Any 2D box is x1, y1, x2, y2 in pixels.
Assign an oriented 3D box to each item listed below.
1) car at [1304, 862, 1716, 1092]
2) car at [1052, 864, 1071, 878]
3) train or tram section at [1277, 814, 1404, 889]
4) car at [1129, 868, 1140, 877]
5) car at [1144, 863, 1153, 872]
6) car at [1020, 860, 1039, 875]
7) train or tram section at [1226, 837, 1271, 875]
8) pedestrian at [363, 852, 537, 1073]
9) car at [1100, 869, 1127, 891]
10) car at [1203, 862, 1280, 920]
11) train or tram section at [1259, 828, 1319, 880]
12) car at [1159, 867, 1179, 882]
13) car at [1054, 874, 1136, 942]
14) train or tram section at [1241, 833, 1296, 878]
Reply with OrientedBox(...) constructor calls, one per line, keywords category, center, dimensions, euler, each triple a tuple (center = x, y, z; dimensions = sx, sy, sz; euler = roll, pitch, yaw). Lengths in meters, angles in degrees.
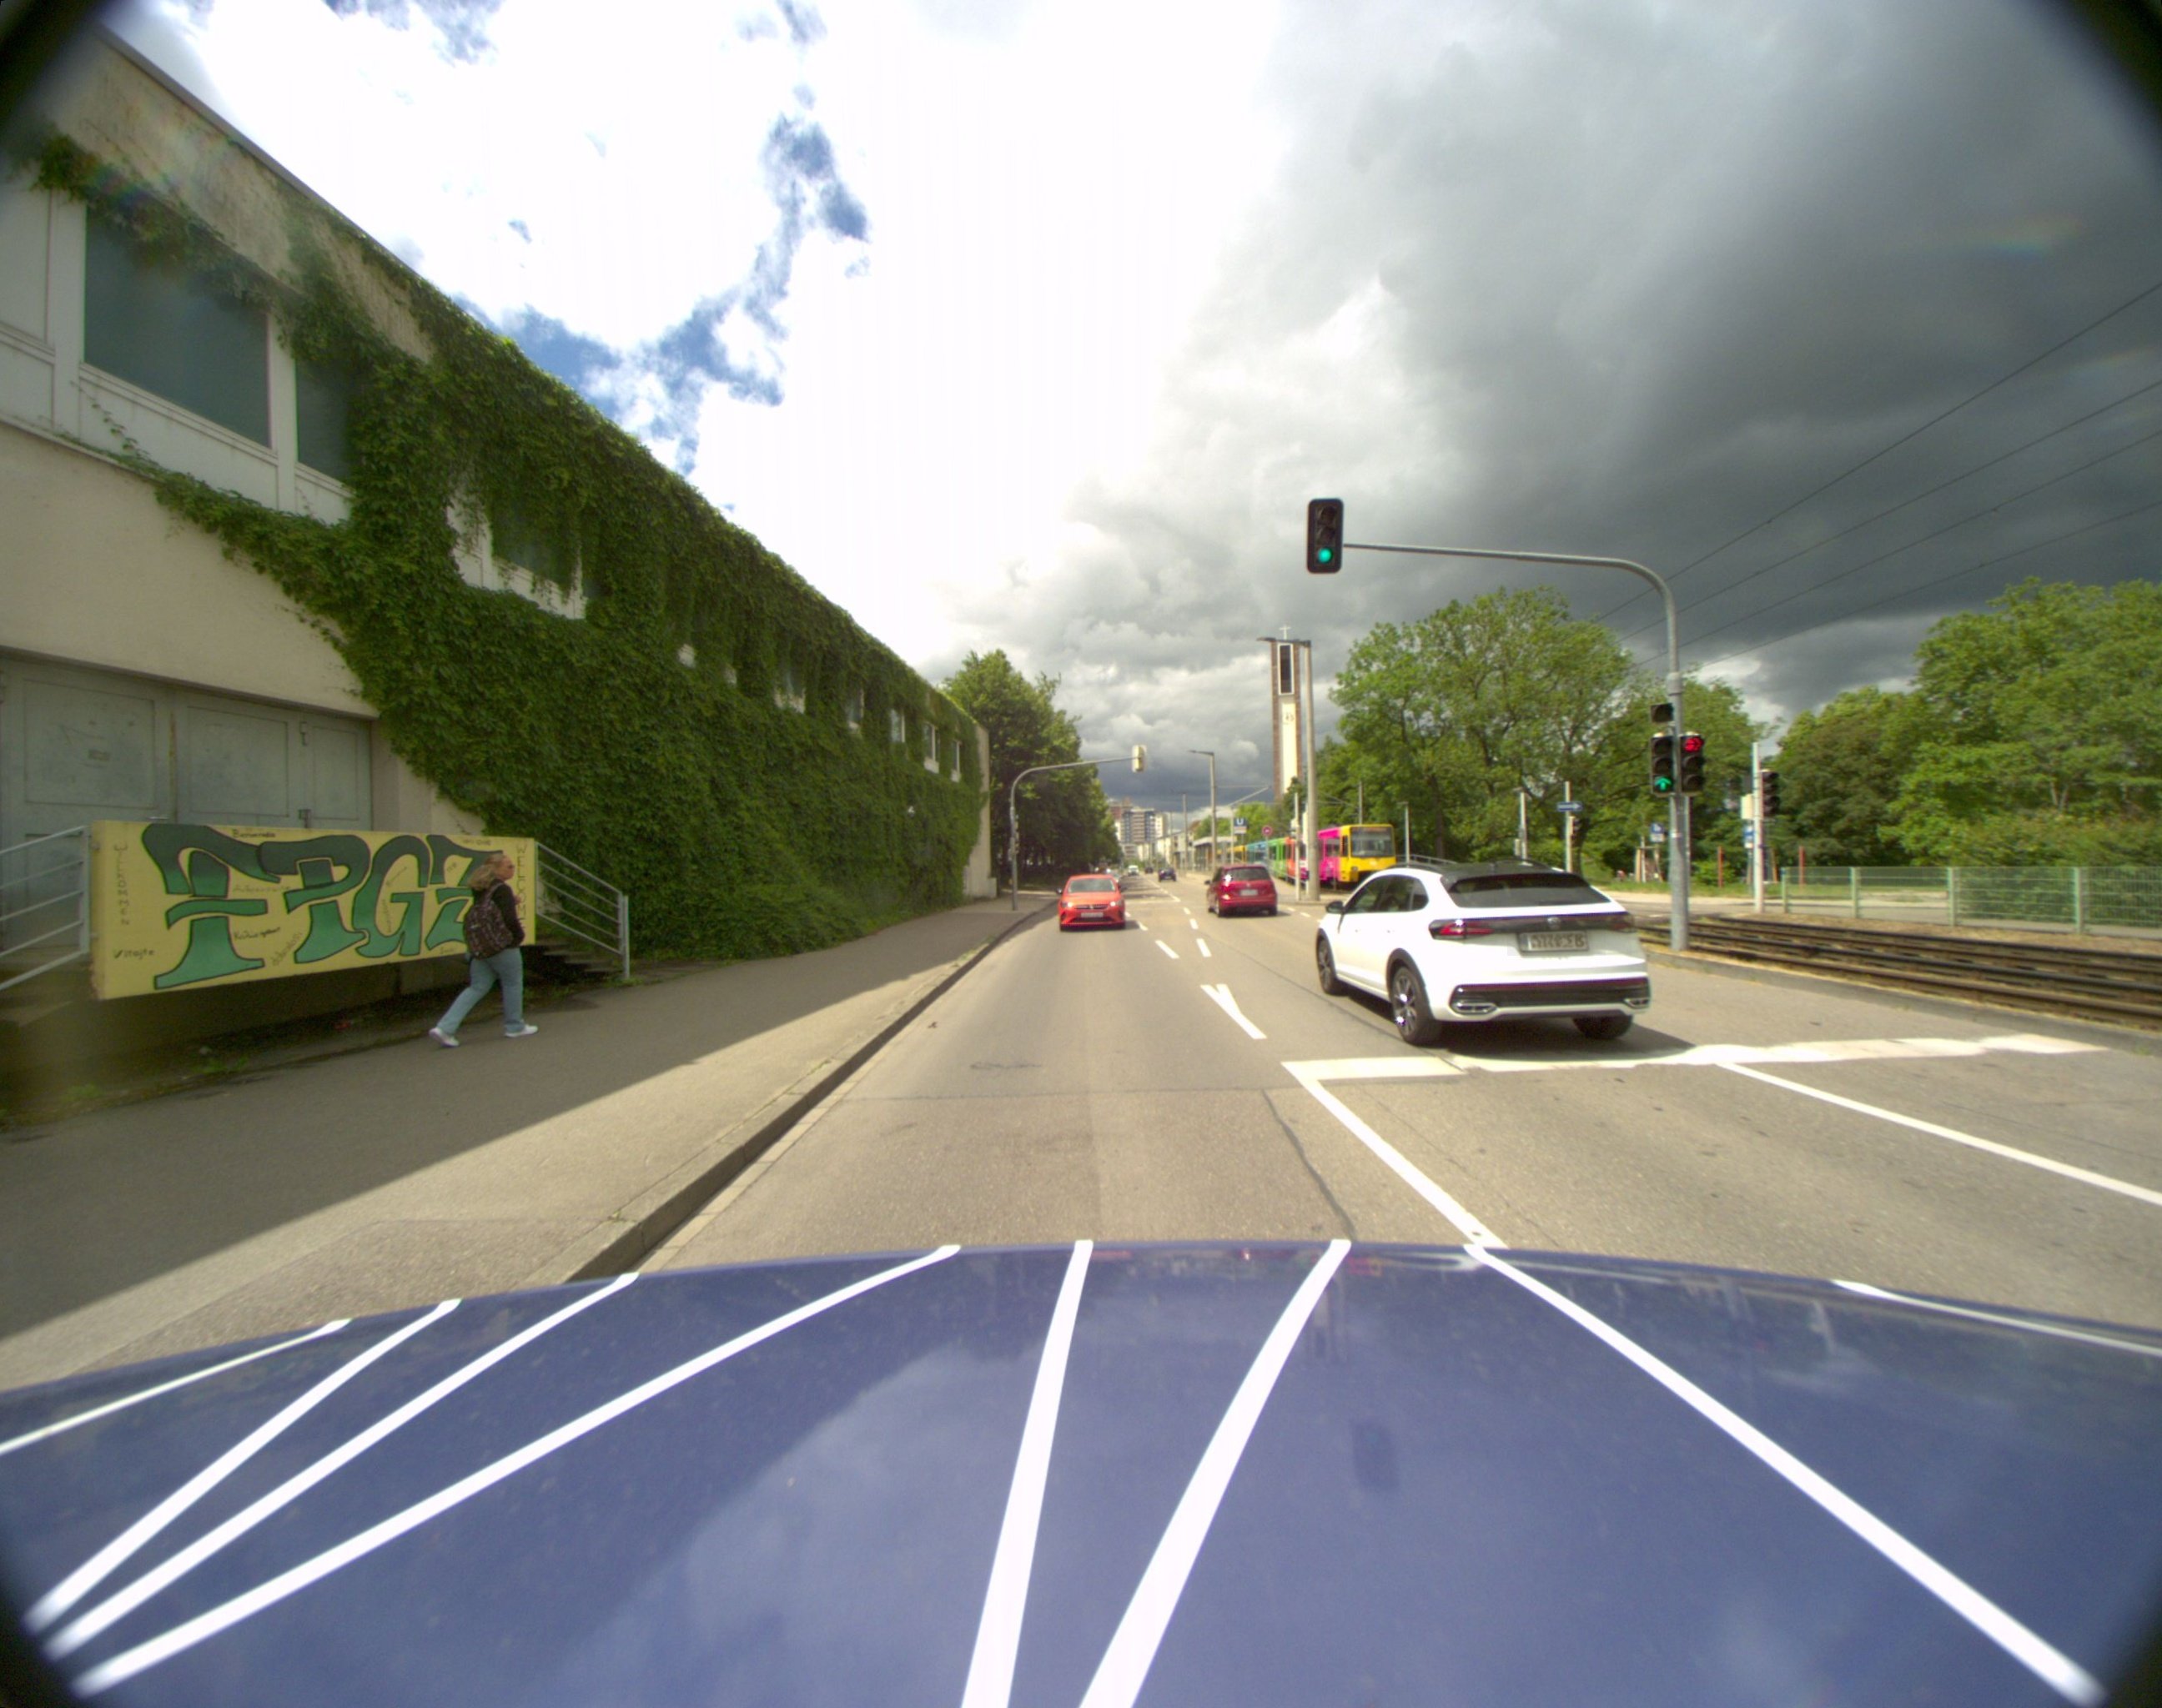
OrientedBox(category="car", center=(3.602, 0.893, 7.349), dimensions=(1.764, 1.543, 4.001), euler=(-2, 0, 2))
OrientedBox(category="car", center=(-2.327, 2.090, 92.302), dimensions=(1.655, 1.532, 3.679), euler=(-2, 0, 9))
OrientedBox(category="train or tram section", center=(16.135, -0.053, 49.496), dimensions=(2.987, 3.839, 18.544), euler=(-3, -1, 4))
OrientedBox(category="car", center=(9.436, 3.288, 134.421), dimensions=(1.820, 1.432, 4.010), euler=(-2, 0, 2))
OrientedBox(category="car", center=(14.022, 2.785, 156.628), dimensions=(1.755, 1.602, 4.228), euler=(-2, 0, 6))
OrientedBox(category="car", center=(-5.798, 1.491, 85.820), dimensions=(1.756, 1.532, 4.226), euler=(-2, 0, 0))
OrientedBox(category="train or tram section", center=(18.593, 0.278, 84.958), dimensions=(2.987, 3.839, 12.205), euler=(-3, -1, 4))
OrientedBox(category="pedestrian", center=(-5.408, 0.870, 6.555), dimensions=(0.810, 1.761, 0.817), euler=(1, 1, 10))
OrientedBox(category="car", center=(2.533, 1.969, 58.154), dimensions=(1.755, 1.432, 4.228), euler=(-2, 0, 6))
OrientedBox(category="car", center=(4.882, 1.074, 23.543), dimensions=(1.667, 1.543, 4.001), euler=(-3, -1, 3))
OrientedBox(category="train or tram section", center=(17.065, 0.038, 62.955), dimensions=(2.987, 3.839, 8.381), euler=(-3, 0, 4))
OrientedBox(category="car", center=(8.808, 2.036, 75.999), dimensions=(1.721, 1.432, 4.010), euler=(-2, 0, 3))
OrientedBox(category="car", center=(0.474, 1.331, 19.929), dimensions=(1.755, 1.432, 4.228), euler=(-2, 0, 6))
OrientedBox(category="train or tram section", center=(17.798, 0.196, 73.009), dimensions=(2.987, 3.839, 11.790), euler=(-3, -1, 4))
